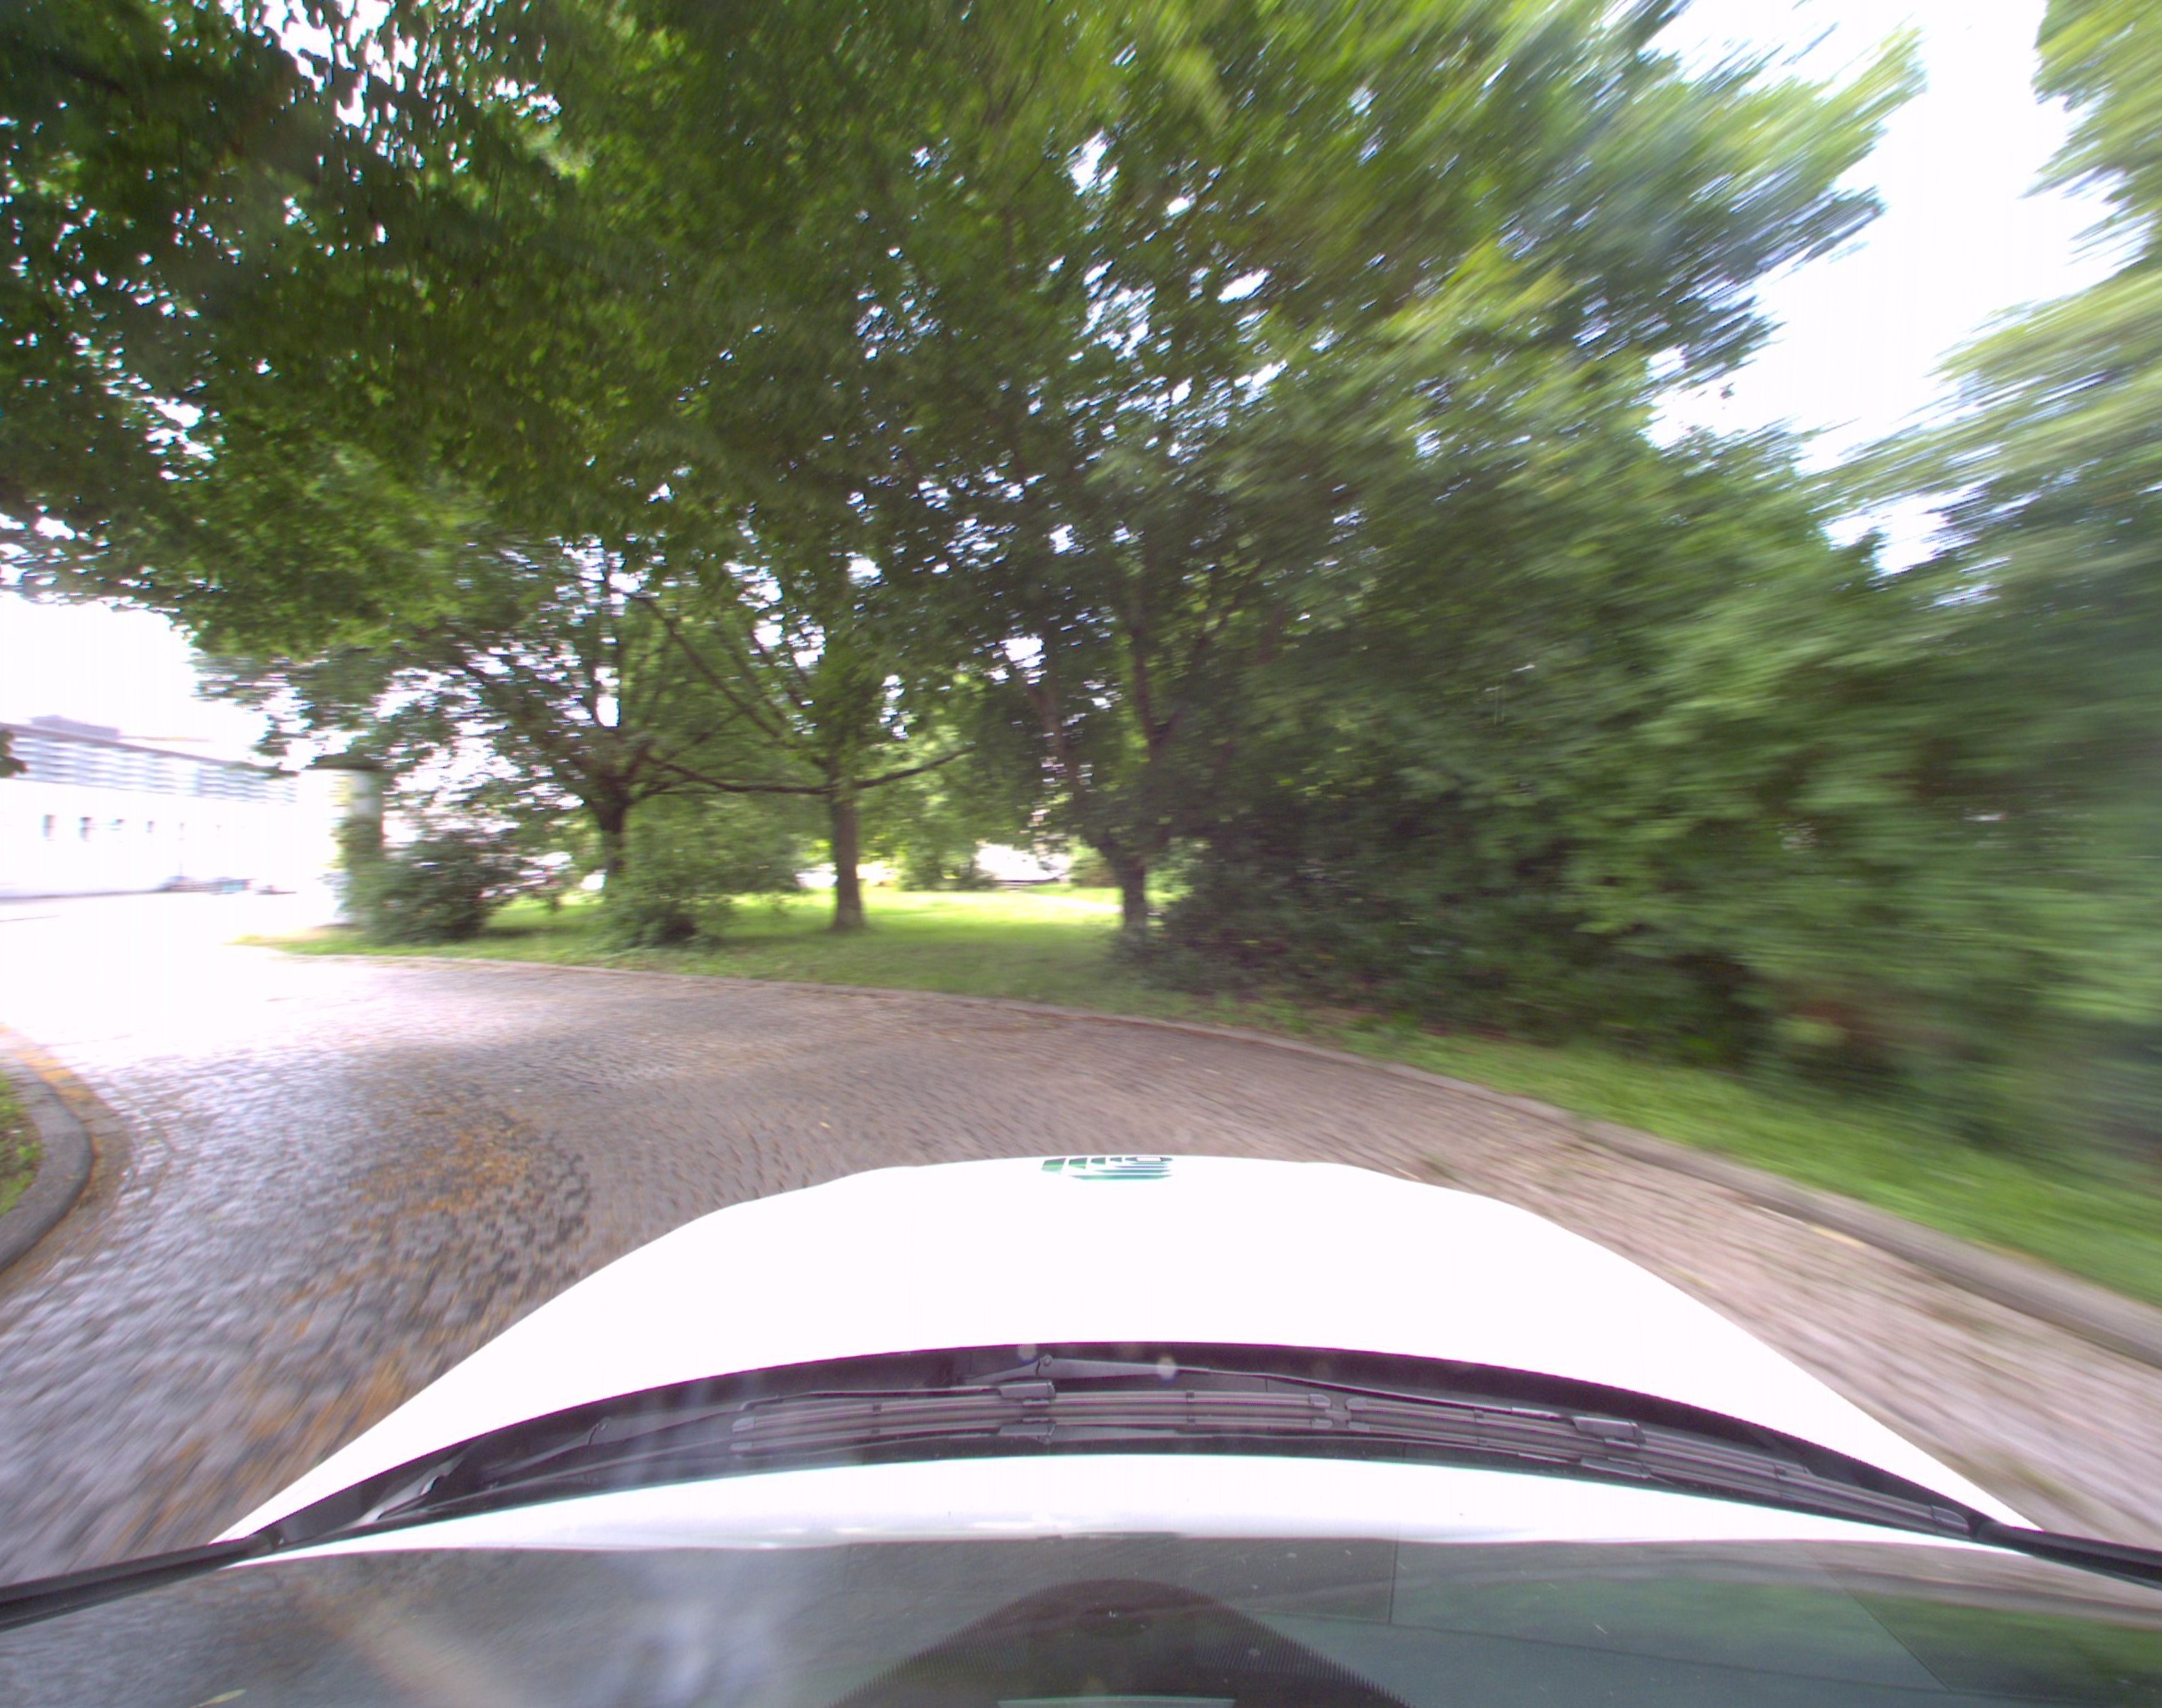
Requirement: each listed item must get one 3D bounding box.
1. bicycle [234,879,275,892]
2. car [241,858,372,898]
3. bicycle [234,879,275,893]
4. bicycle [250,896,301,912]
[{"bbox_3d":[-49.308,1.867,48.629,1.684,0.757,0.563,2,-2,-44],"label":"bicycle"},{"bbox_3d":[-41.484,1.265,43.773,4.652,2.014,1.984,0,-2,-24],"label":"car"},{"bbox_3d":[-48.709,1.878,48.010,1.684,0.757,0.563,2,-2,-44],"label":"bicycle"},{"bbox_3d":[-39.575,2.441,40.028,1.677,0.757,0.566,1,-2,-24],"label":"bicycle"}]
